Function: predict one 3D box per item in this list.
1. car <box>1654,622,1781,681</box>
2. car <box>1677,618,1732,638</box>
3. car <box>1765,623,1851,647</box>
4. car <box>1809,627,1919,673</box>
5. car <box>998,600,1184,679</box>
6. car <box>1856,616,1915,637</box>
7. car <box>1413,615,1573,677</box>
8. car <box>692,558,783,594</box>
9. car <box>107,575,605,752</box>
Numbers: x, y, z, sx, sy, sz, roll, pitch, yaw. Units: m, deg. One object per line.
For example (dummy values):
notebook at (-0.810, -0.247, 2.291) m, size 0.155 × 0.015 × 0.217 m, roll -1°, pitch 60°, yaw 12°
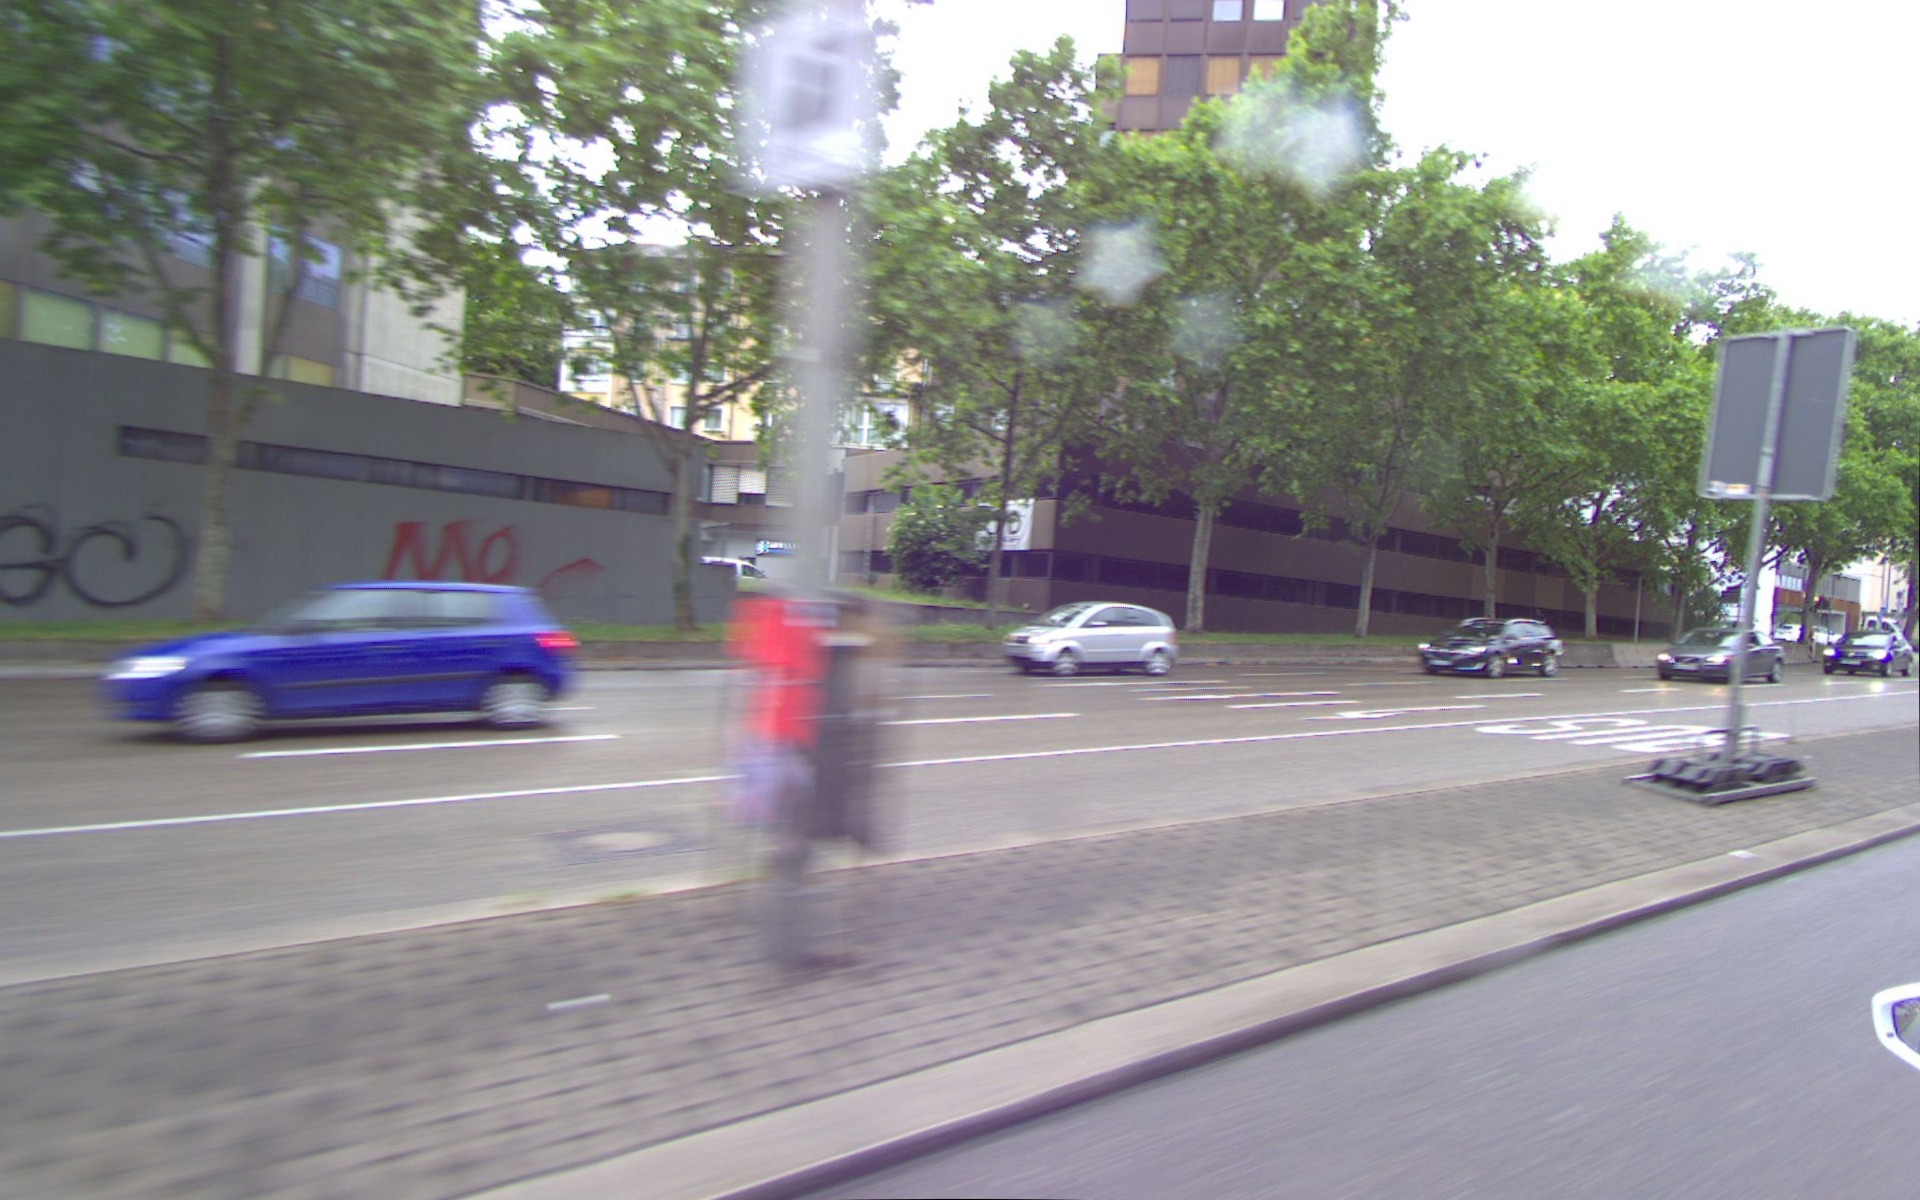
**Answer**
car at (20.329, 1.362, 26.908) m, size 3.963 × 1.428 × 1.674 m, roll 2°, pitch 0°, yaw -37°
car at (56.906, 2.152, 76.816) m, size 3.127 × 1.445 × 1.279 m, roll 2°, pitch -1°, yaw 13°
car at (61.266, 2.504, 72.588) m, size 4.485 × 1.530 × 1.827 m, roll 2°, pitch -1°, yaw 6°
car at (31.150, 1.729, 34.536) m, size 3.955 × 1.421 × 1.810 m, roll 3°, pitch -2°, yaw -31°
car at (2.820, 0.819, 21.505) m, size 3.709 × 1.511 × 1.591 m, roll 1°, pitch 1°, yaw -29°
car at (82.337, 2.315, 89.414) m, size 1.808 × 1.723 × 3.604 m, roll 3°, pitch -2°, yaw -35°
car at (13.981, 1.186, 26.244) m, size 4.678 × 1.466 × 1.733 m, roll 2°, pitch 0°, yaw -35°
car at (-10.054, -1.057, 45.450) m, size 3.724 × 1.511 × 1.585 m, roll 1°, pitch 2°, yaw -39°
car at (-5.872, 0.557, 10.204) m, size 4.022 × 1.493 × 1.599 m, roll 1°, pitch 0°, yaw -32°
